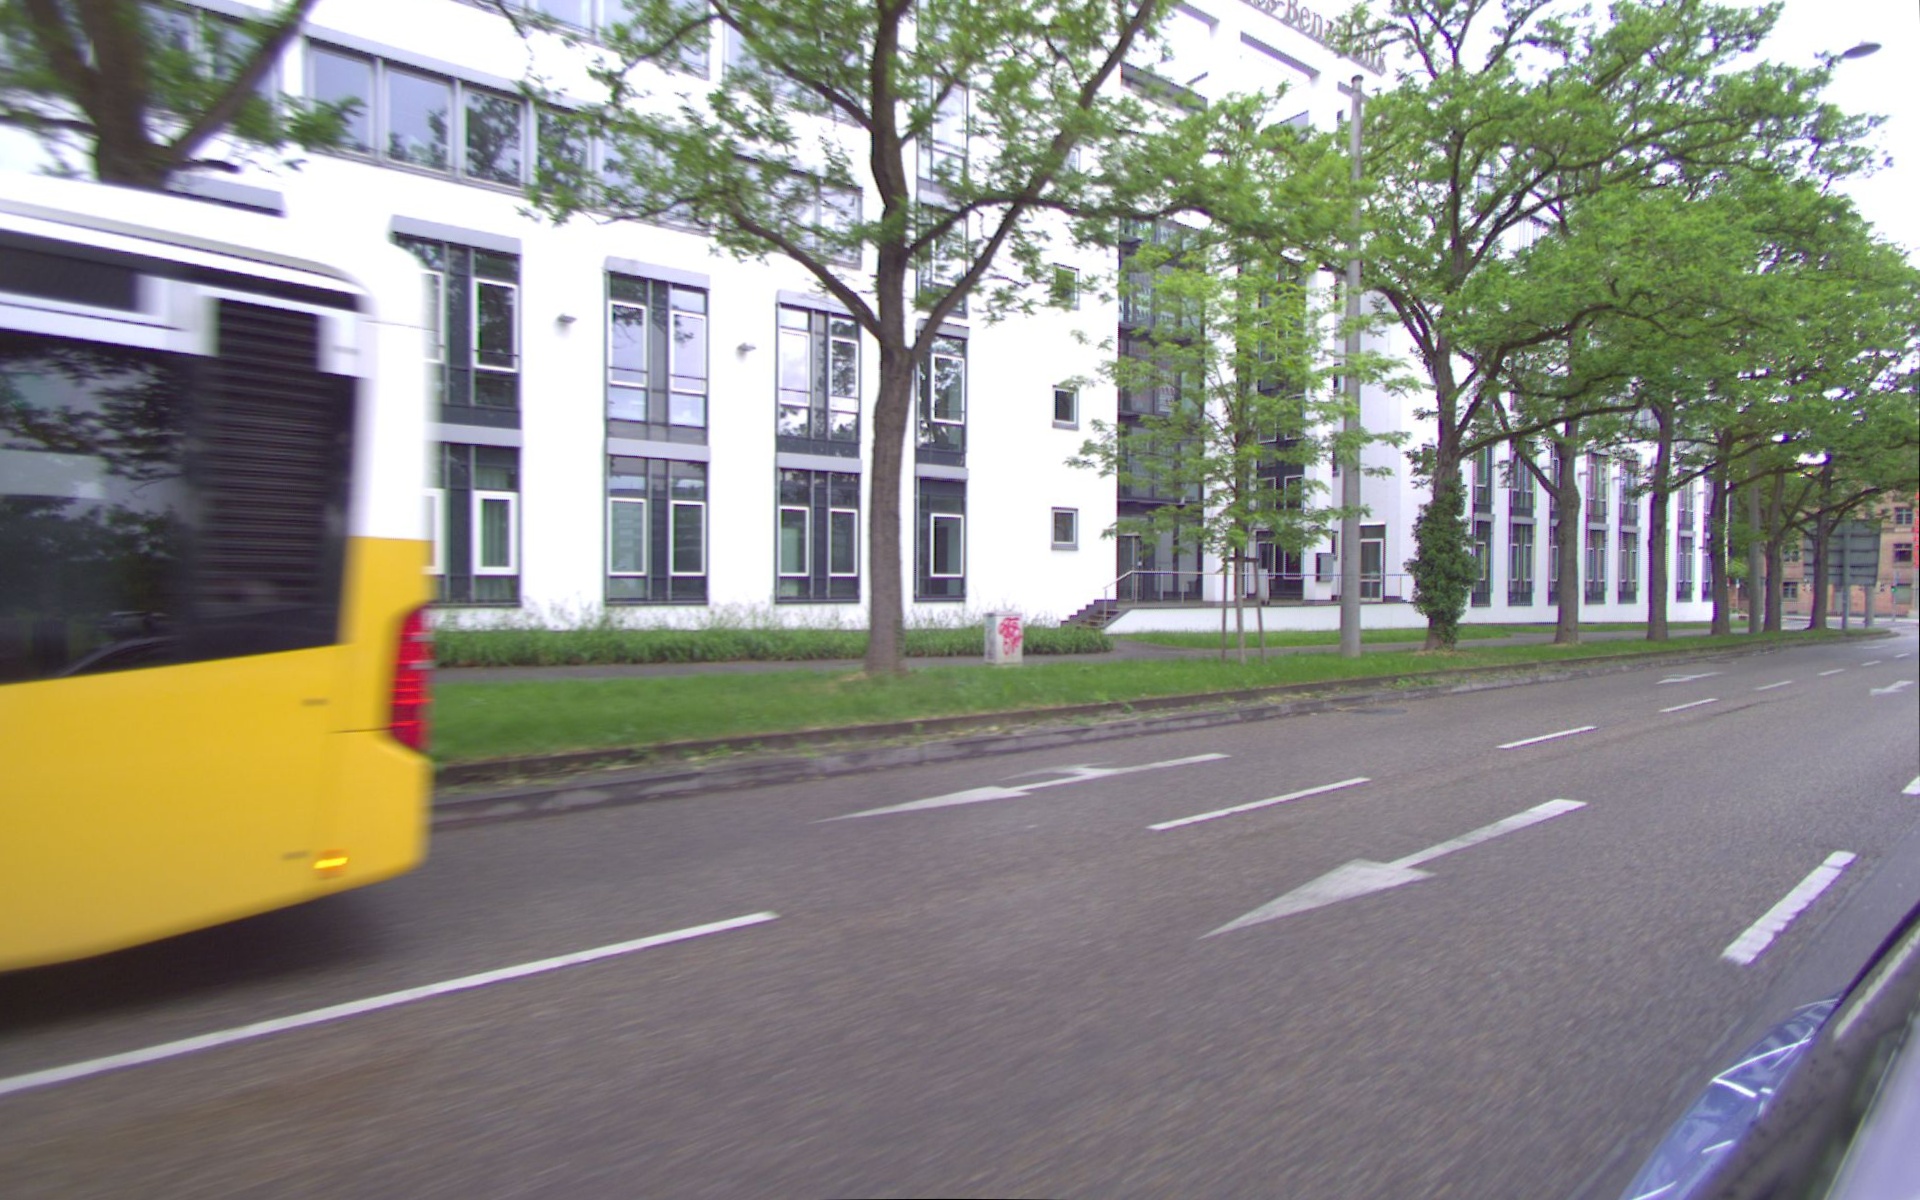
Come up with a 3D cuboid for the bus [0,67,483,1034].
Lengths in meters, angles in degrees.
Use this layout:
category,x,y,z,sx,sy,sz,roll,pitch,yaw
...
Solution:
category,x,y,z,sx,sy,sz,roll,pitch,yaw
bus,-7.464,-0.178,1.521,11.928,3.192,2.732,0,-1,-40
